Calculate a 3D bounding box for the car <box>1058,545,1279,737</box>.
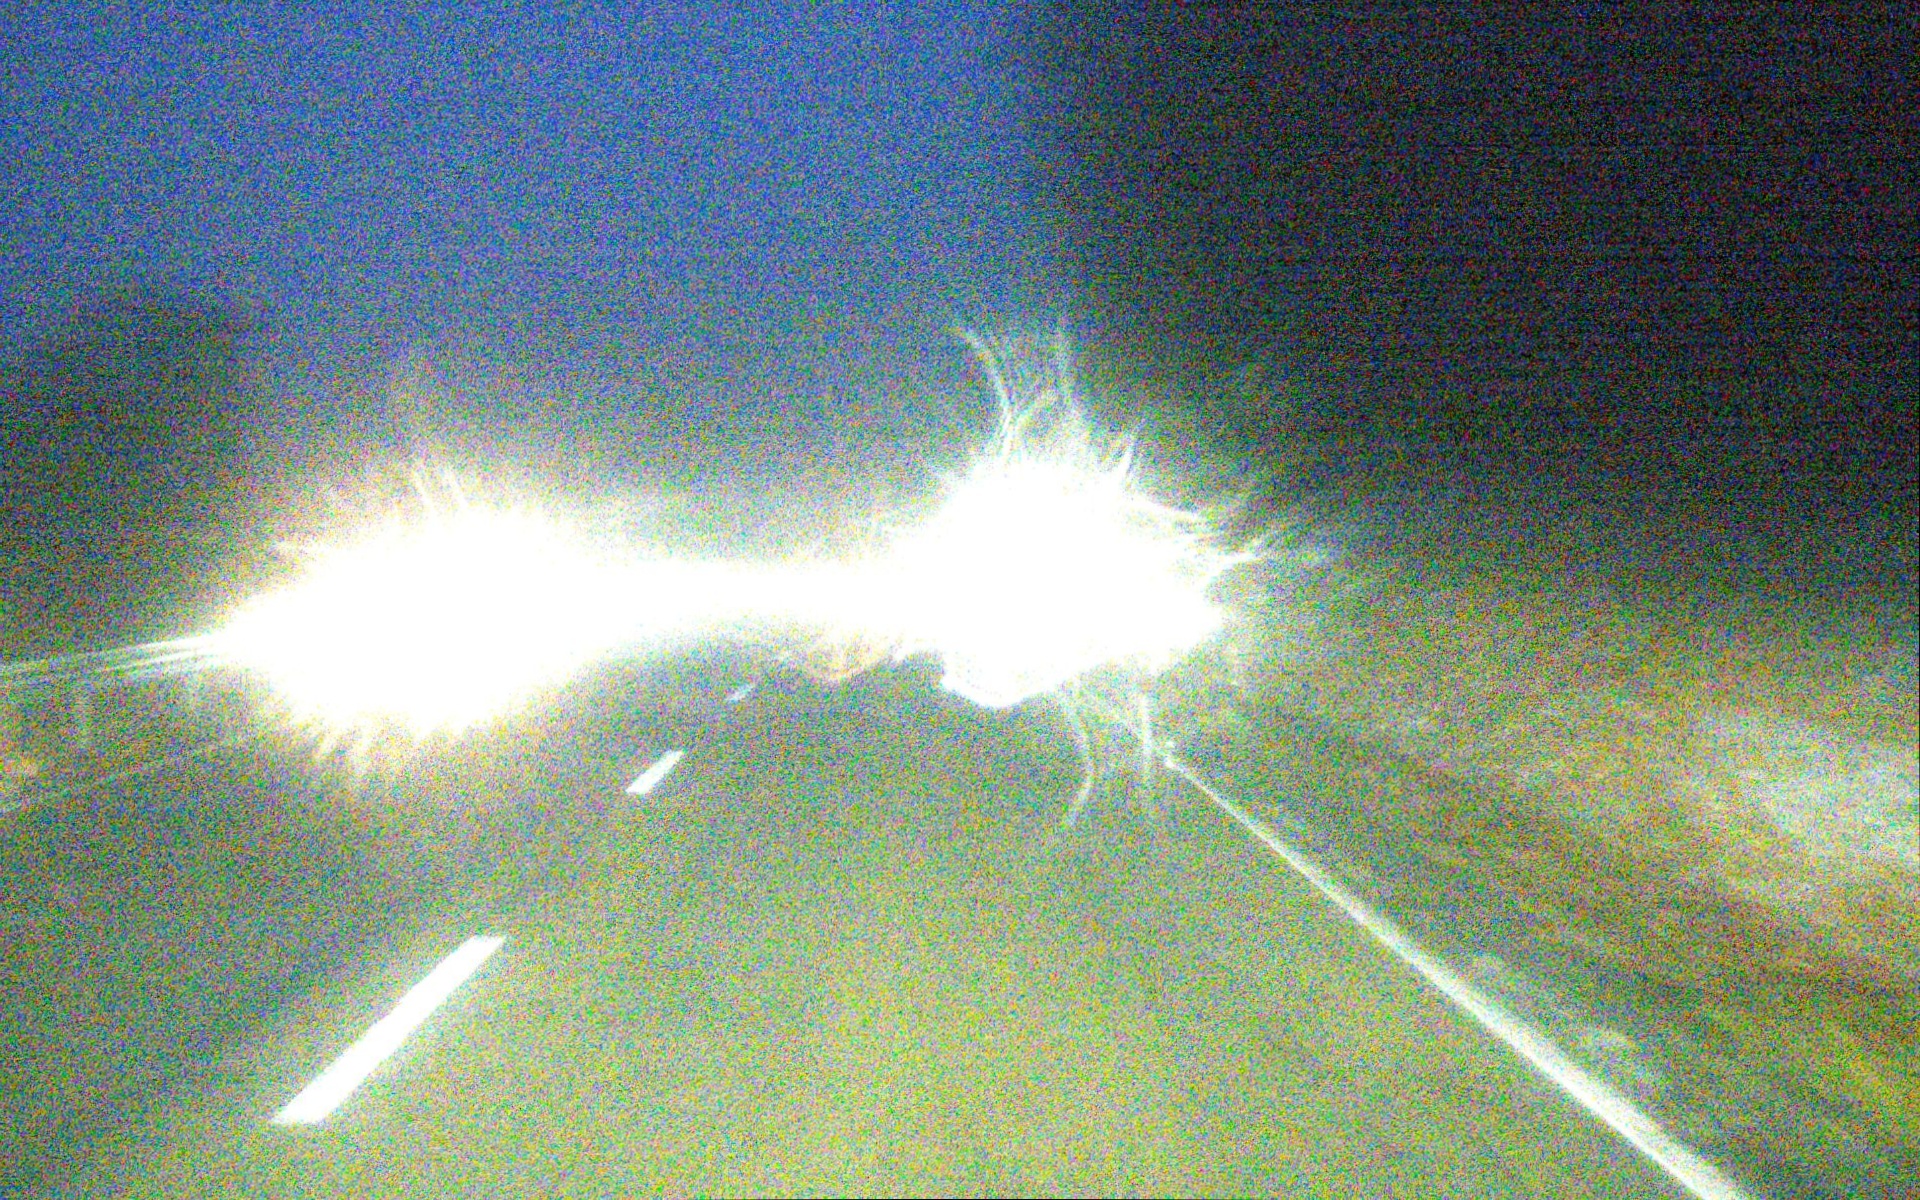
[{"bbox_3d":[2.247,0.486,38.180,2.197,2.007,4.207,0,-2,0],"label":"car"}]
